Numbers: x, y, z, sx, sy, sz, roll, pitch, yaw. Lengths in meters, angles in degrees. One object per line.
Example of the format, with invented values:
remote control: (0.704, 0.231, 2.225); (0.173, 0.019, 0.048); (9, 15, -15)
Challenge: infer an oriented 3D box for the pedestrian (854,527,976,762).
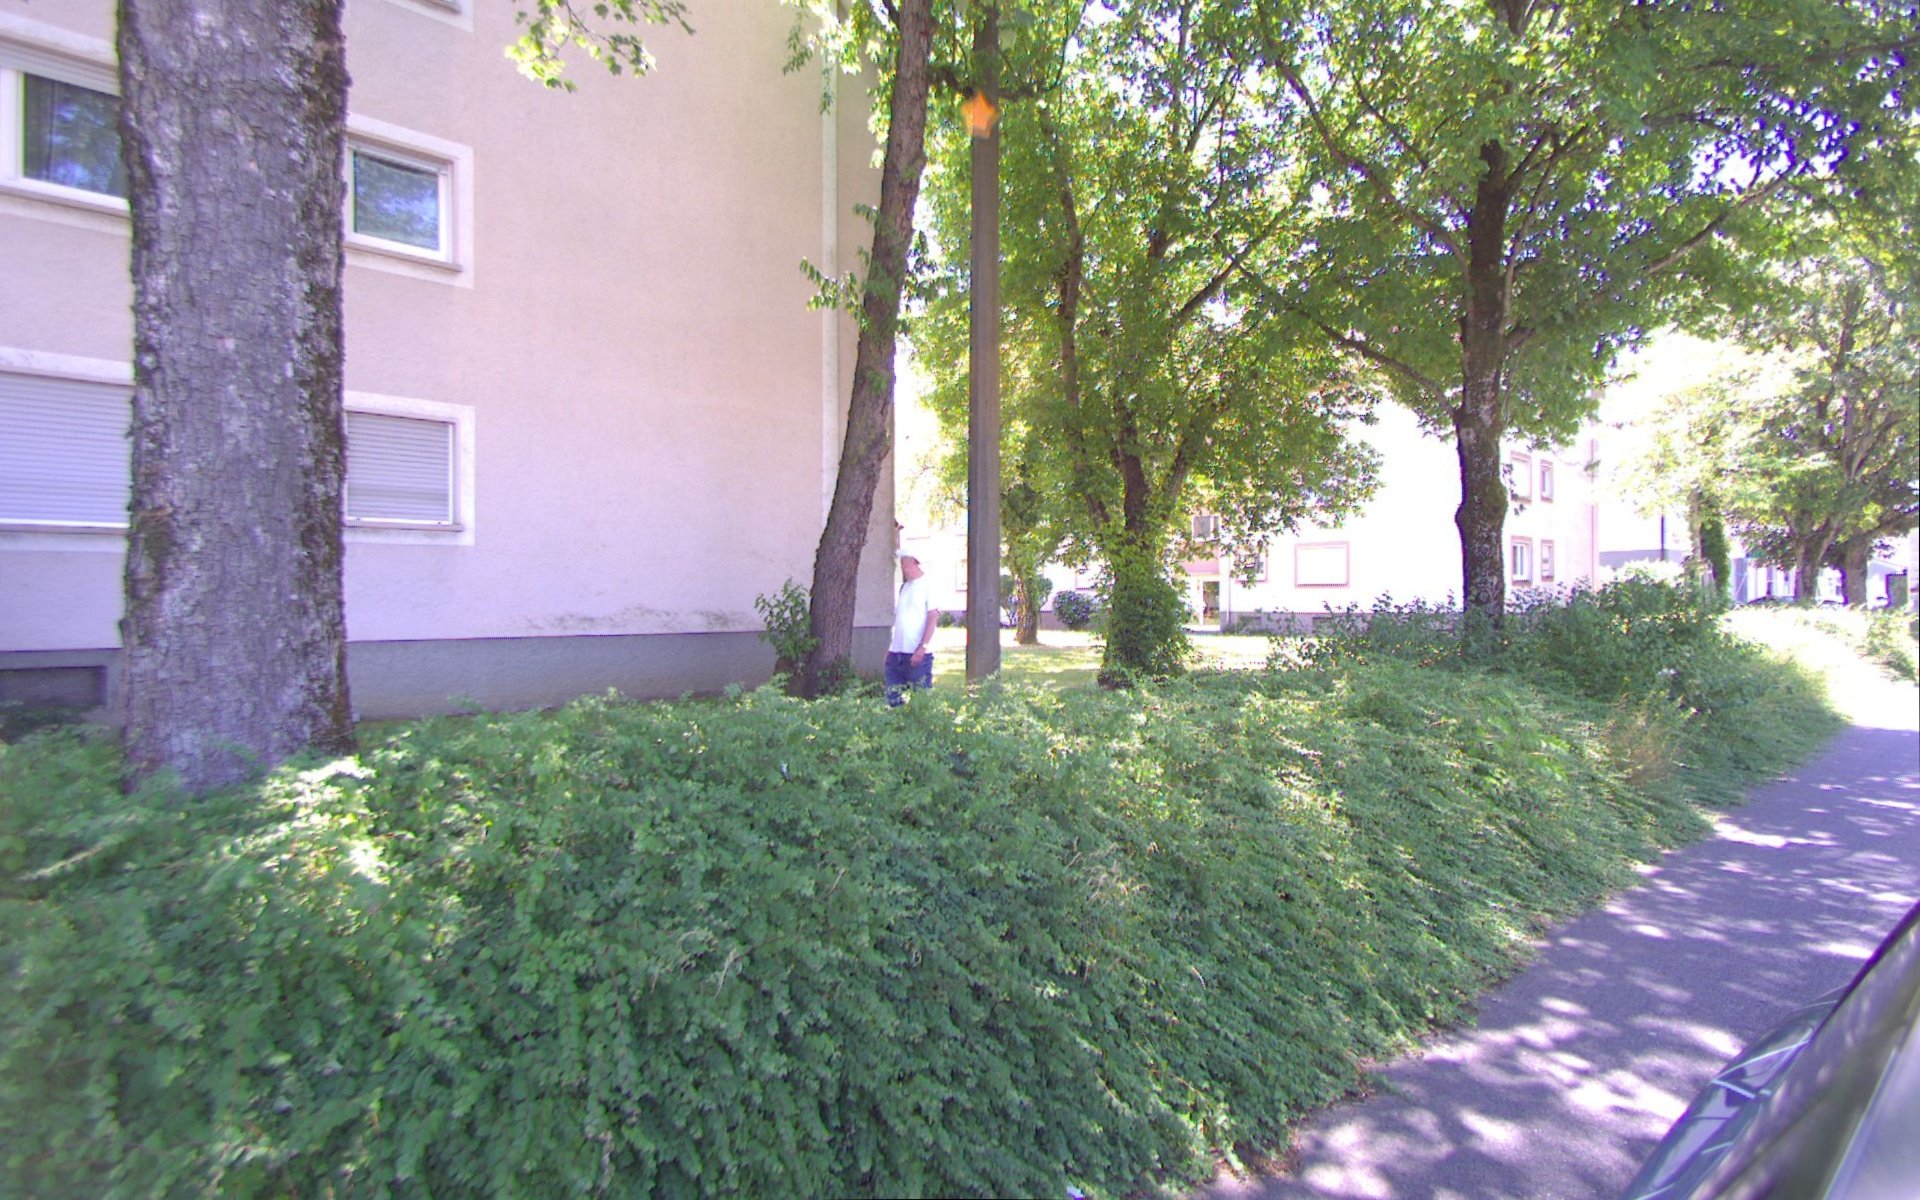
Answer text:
pedestrian: (-0.376, 0.356, 8.731); (0.668, 1.897, 0.894); (-1, 0, 28)
